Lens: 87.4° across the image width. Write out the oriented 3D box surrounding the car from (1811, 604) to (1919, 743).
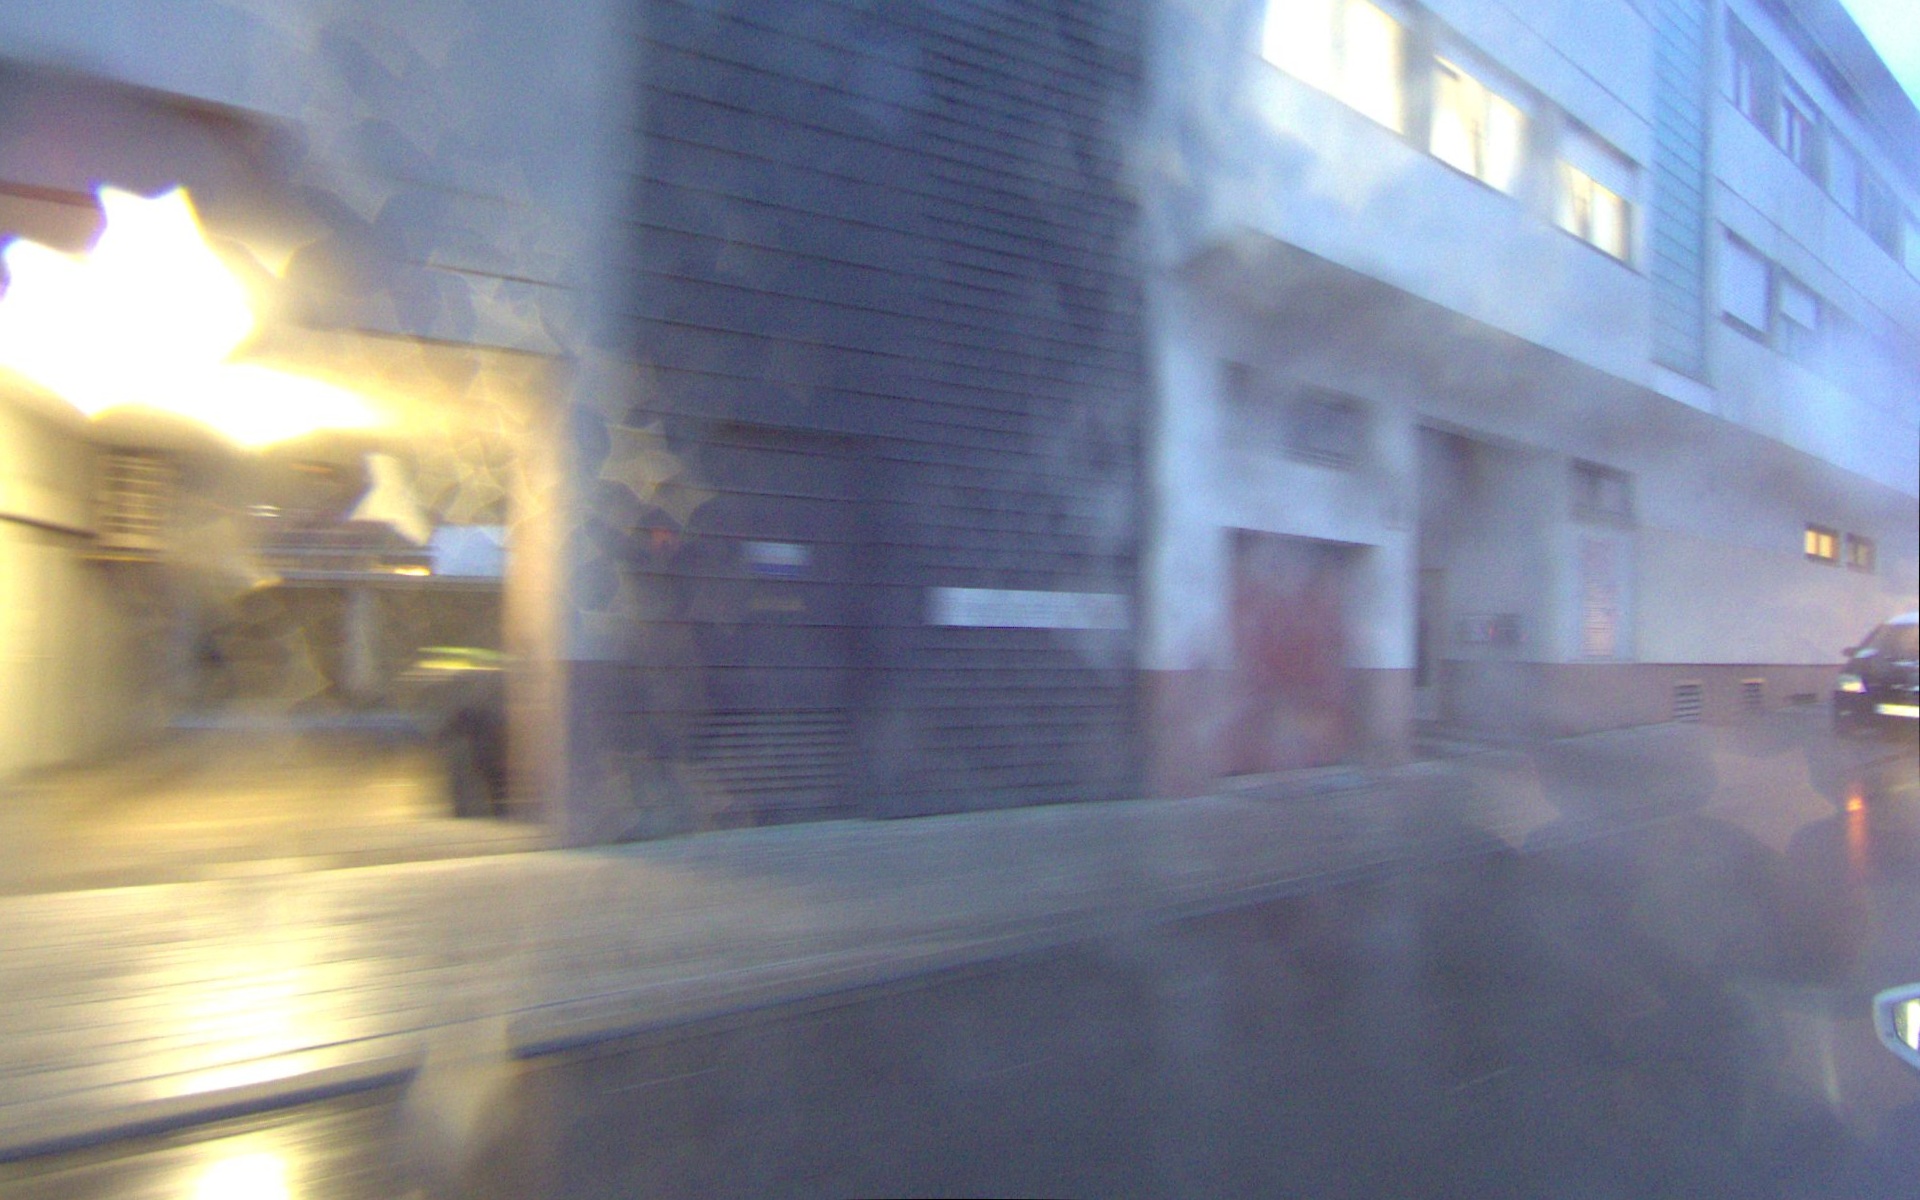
[{"bbox_3d":[13.038,0.920,13.319,3.774,1.664,1.782,1,0,-35],"label":"car"}]
